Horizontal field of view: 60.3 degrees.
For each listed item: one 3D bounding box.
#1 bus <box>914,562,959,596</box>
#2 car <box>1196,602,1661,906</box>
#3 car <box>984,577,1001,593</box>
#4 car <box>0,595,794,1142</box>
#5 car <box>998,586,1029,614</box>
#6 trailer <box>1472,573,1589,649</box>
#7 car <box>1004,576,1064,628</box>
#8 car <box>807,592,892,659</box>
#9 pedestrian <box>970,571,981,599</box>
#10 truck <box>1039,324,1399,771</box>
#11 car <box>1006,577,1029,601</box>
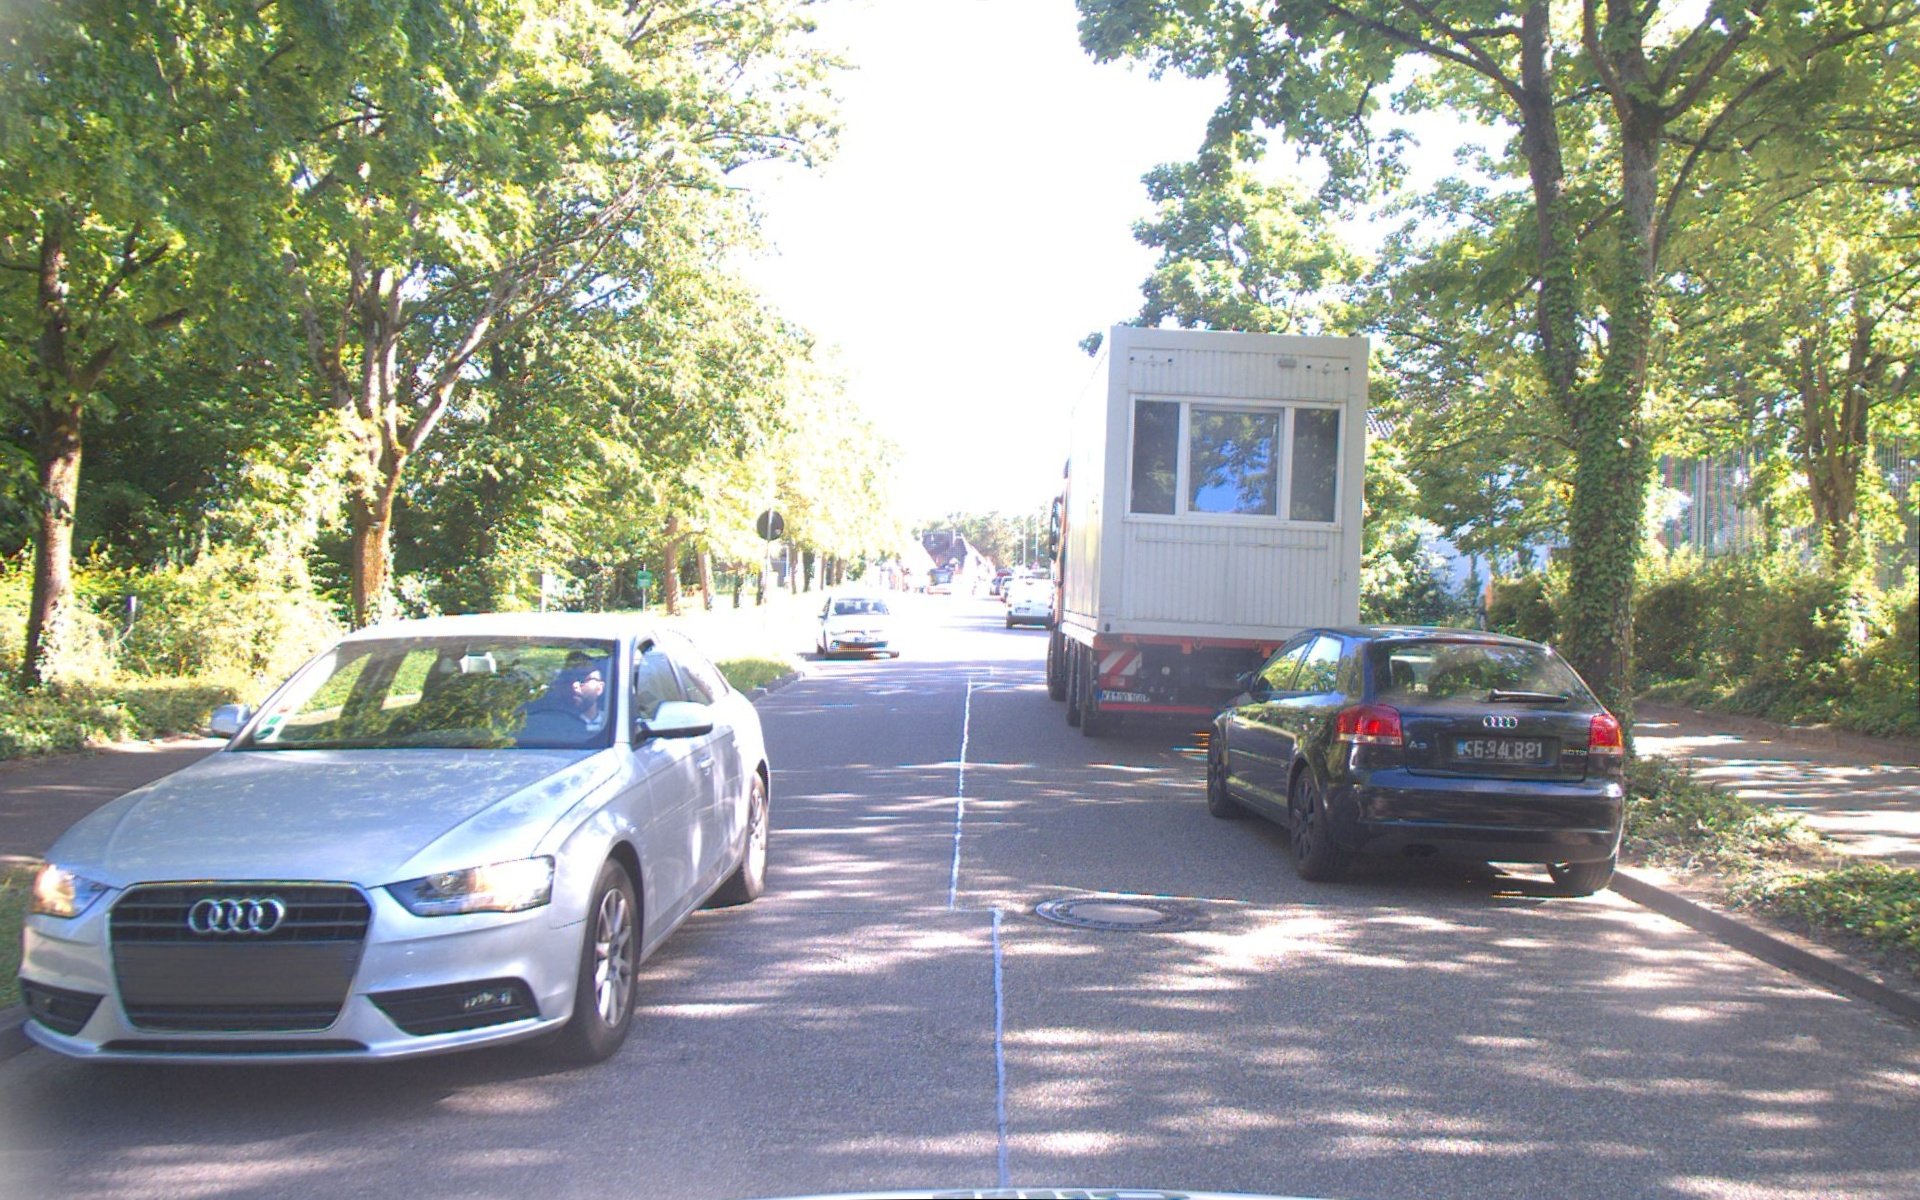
[{"bbox_3d":[-2.373,-2.179,171.452,3.980,3.407,9.804,0,1,3],"label":"bus"},{"bbox_3d":[2.666,0.786,10.383,1.607,1.445,3.998,2,1,-2],"label":"car"},{"bbox_3d":[3.647,-1.665,184.750,1.745,1.840,4.000,0,0,0],"label":"car"},{"bbox_3d":[-1.807,0.727,6.552,1.749,1.441,4.106,0,1,2],"label":"car"},{"bbox_3d":[3.317,-0.031,102.743,1.745,1.681,4.000,0,0,0],"label":"car"},{"bbox_3d":[16.733,0.313,48.592,2.883,2.153,1.610,1,0,-1],"label":"trailer"},{"bbox_3d":[2.779,0.060,62.887,1.907,1.875,3.998,1,0,-3],"label":"car"},{"bbox_3d":[-2.660,0.560,39.076,1.771,1.445,3.953,-1,0,-7],"label":"car"},{"bbox_3d":[1.189,-1.179,128.866,0.737,2.150,0.799,3,0,3],"label":"pedestrian"},{"bbox_3d":[2.668,-0.546,20.635,2.716,4.065,10.348,2,1,0],"label":"truck"},{"bbox_3d":[4.571,-0.869,131.885,1.745,1.840,4.000,0,0,0],"label":"car"}]
